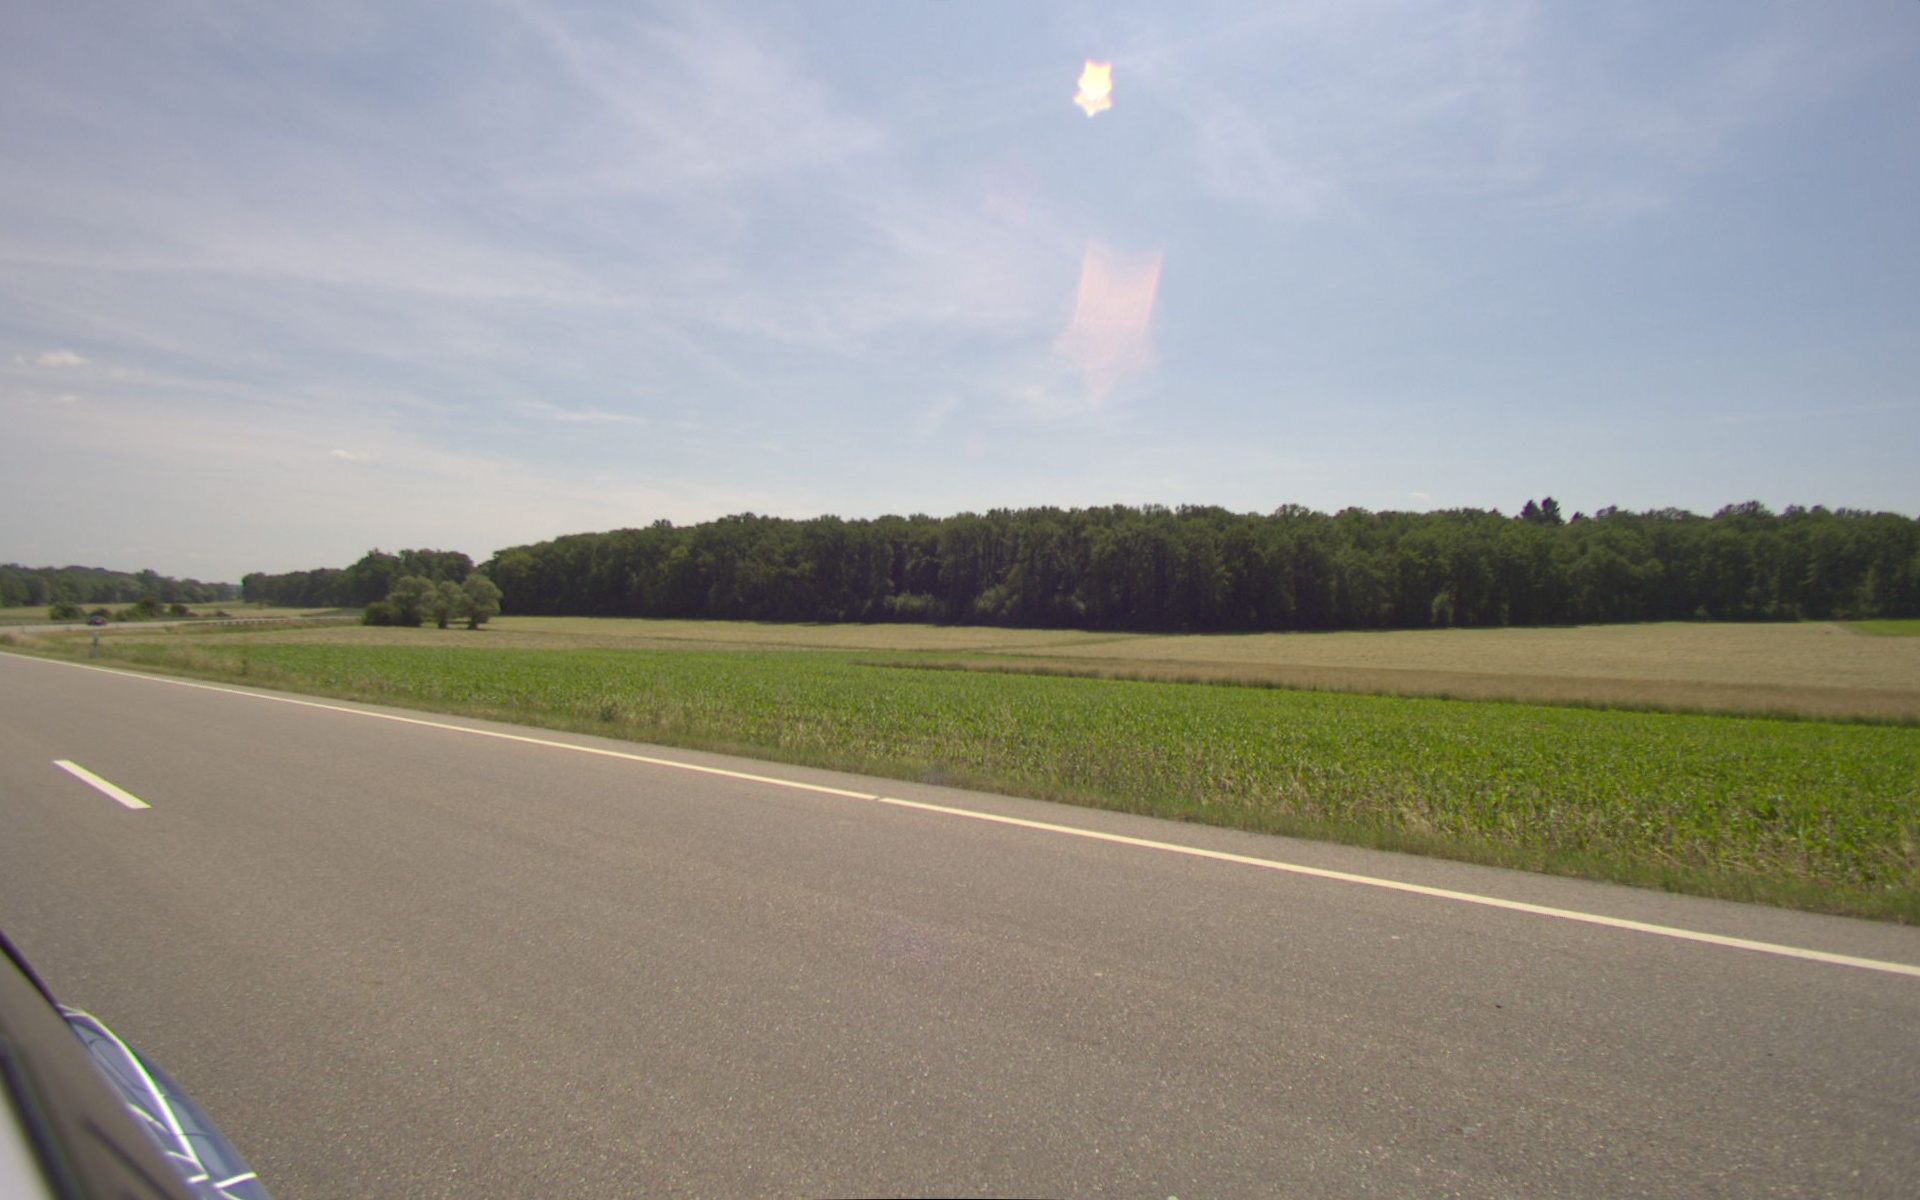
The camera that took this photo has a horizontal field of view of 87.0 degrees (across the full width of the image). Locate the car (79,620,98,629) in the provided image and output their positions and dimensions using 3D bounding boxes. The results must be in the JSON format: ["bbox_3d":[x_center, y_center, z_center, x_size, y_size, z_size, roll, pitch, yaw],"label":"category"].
[{"bbox_3d":[-147.681,4.129,171.540,1.594,1.447,3.454,3,-1,-26],"label":"car"}]
